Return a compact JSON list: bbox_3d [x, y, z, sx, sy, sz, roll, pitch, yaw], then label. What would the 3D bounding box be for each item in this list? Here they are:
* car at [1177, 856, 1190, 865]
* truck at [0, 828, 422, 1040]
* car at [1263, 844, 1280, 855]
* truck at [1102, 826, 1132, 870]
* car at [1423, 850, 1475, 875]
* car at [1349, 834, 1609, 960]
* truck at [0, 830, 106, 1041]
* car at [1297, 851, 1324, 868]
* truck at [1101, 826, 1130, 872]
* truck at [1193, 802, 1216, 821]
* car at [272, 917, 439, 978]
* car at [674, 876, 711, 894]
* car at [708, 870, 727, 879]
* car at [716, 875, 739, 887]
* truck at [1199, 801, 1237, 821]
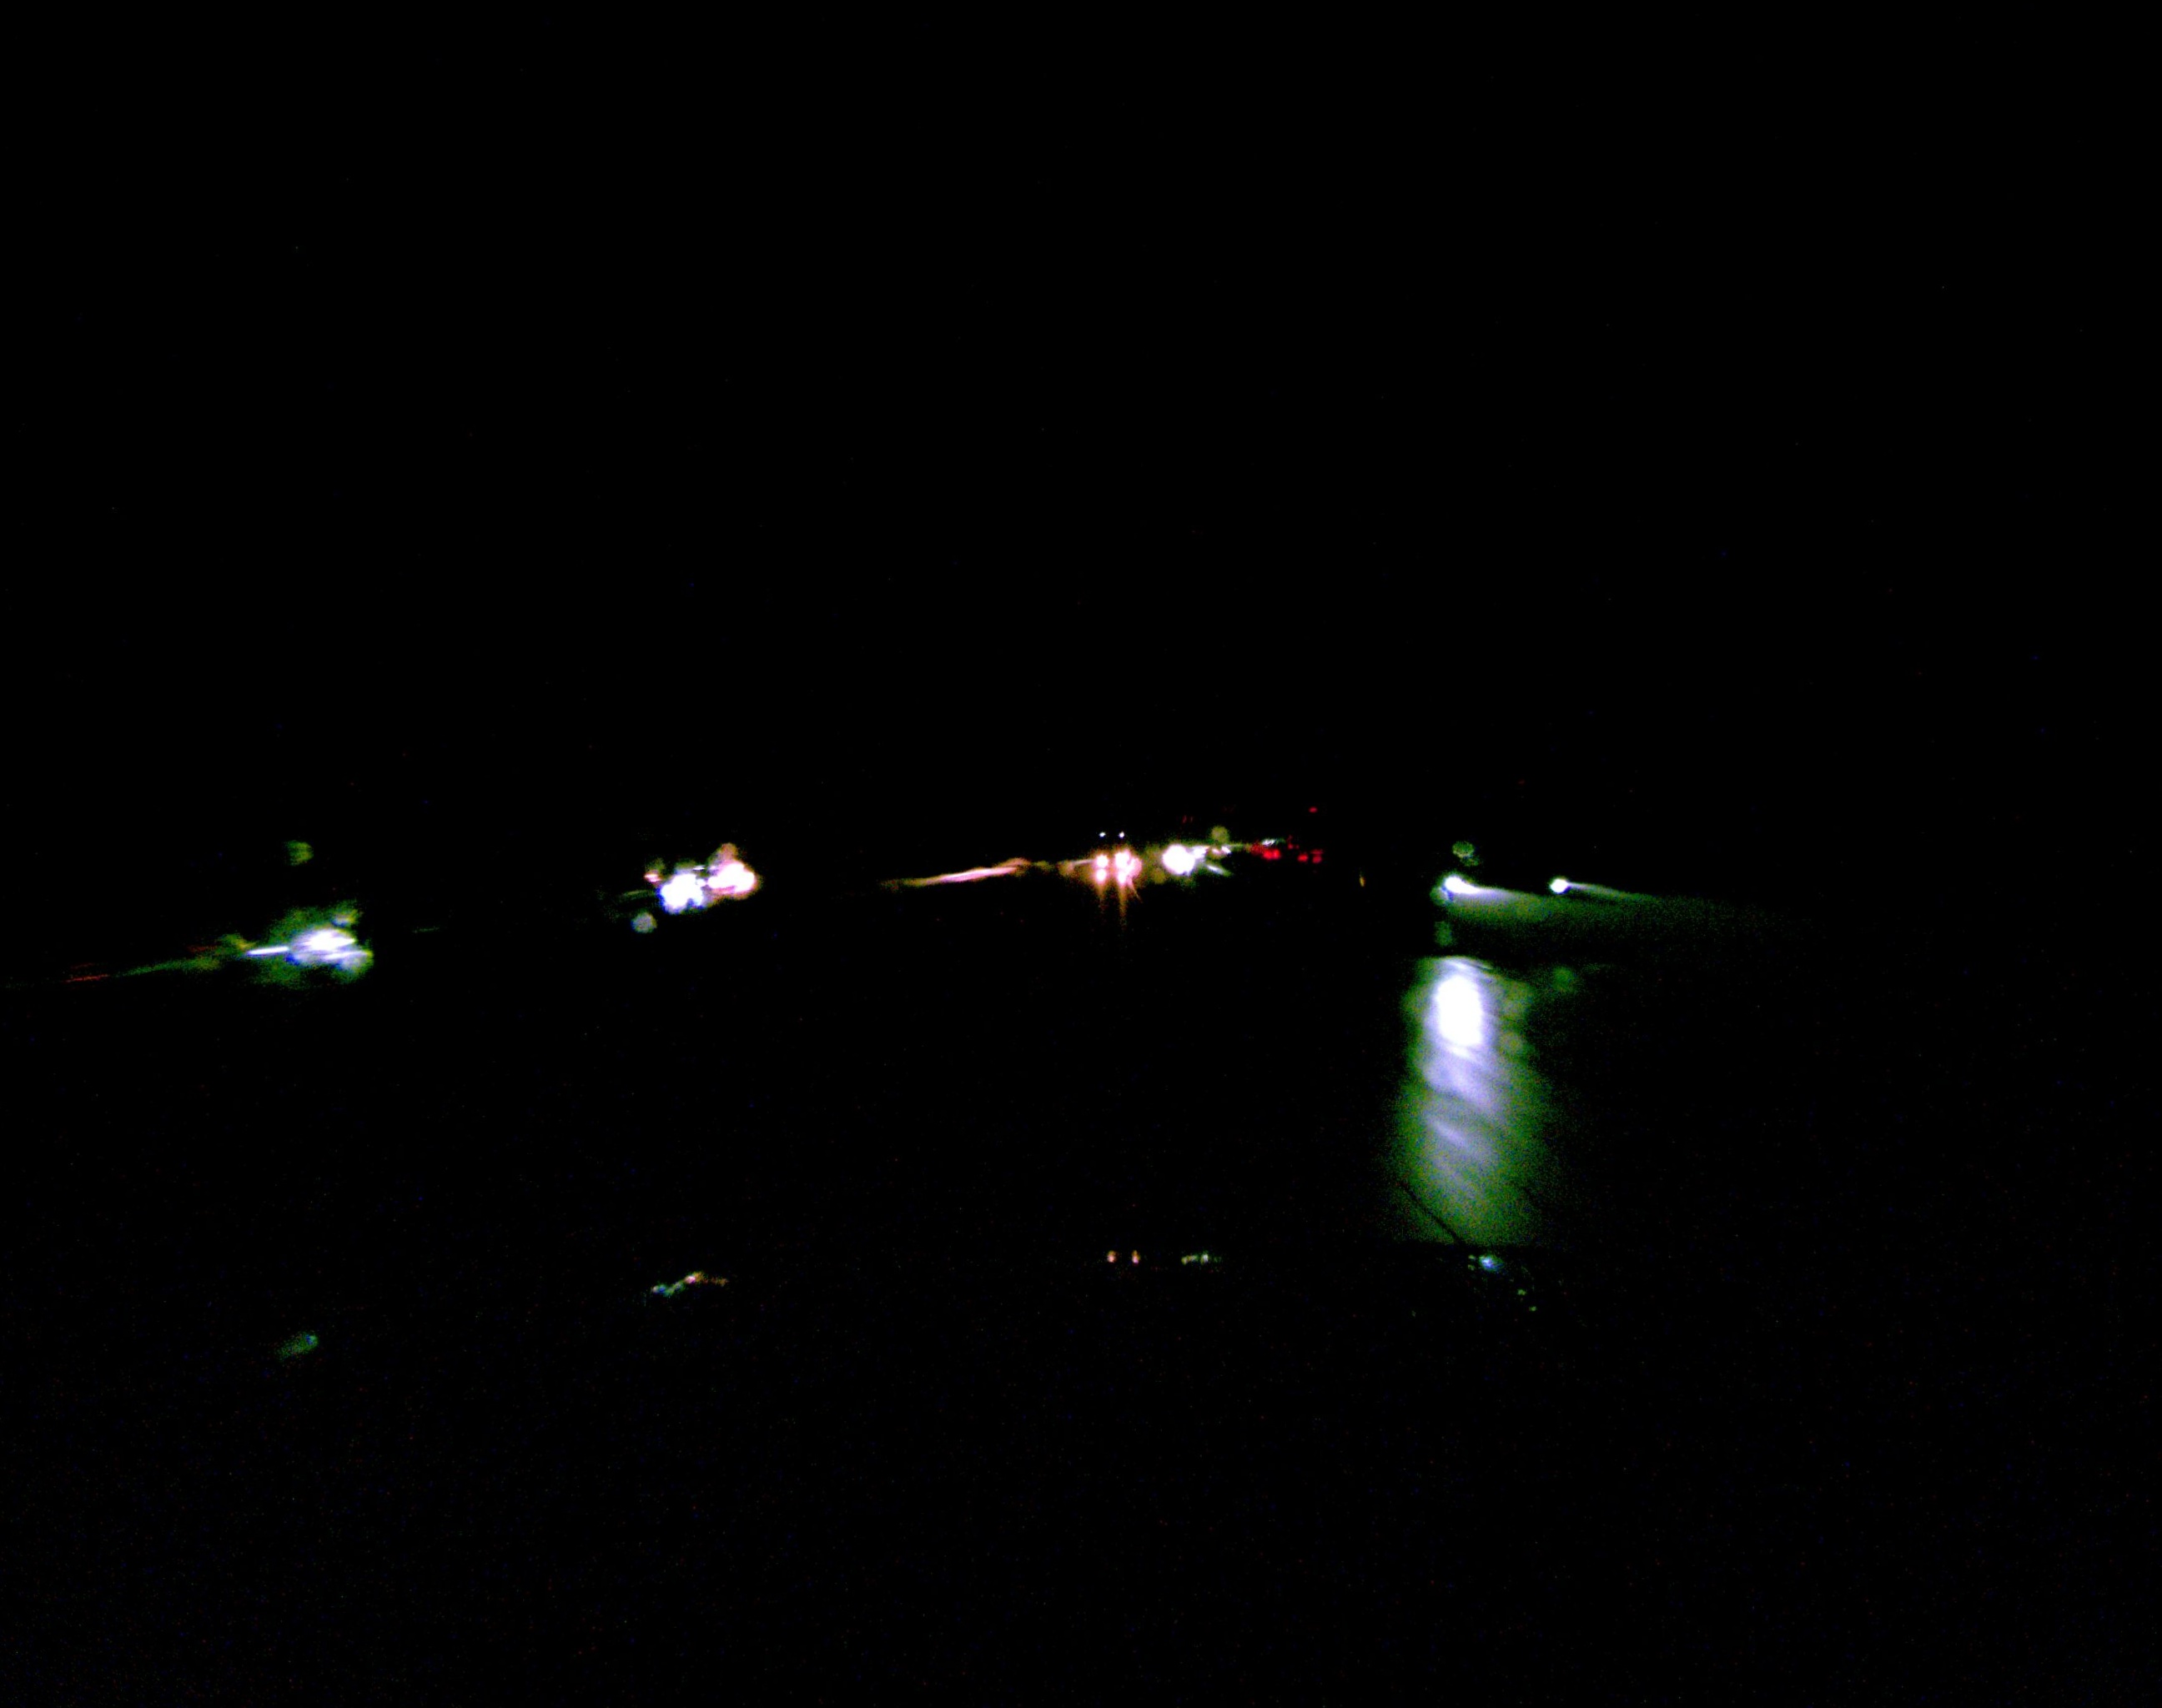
[{"bbox_3d":[15.436,0.922,114.644,1.711,1.286,3.993,-1,-1,3],"label":"car"},{"bbox_3d":[-24.400,1.416,21.317,2.769,4.199,13.806,-1,2,-14],"label":"truck"},{"bbox_3d":[29.909,-0.688,119.371,1.776,1.623,4.000,0,2,3],"label":"car"},{"bbox_3d":[3.958,-0.738,79.903,2.502,4.224,13.644,0,2,5],"label":"truck"},{"bbox_3d":[25.051,0.549,51.815,1.776,1.622,4.001,0,0,3],"label":"car"},{"bbox_3d":[6.912,0.616,14.128,2.142,1.873,5.555,0,1,3],"label":"car"},{"bbox_3d":[-22.567,1.661,13.652,2.768,4.199,6.185,-1,2,-13],"label":"truck"},{"bbox_3d":[23.745,0.544,78.828,1.776,1.623,4.000,0,2,3],"label":"car"},{"bbox_3d":[3.367,-0.500,72.724,2.502,4.224,5.983,0,2,5],"label":"truck"},{"bbox_3d":[25.986,-8.903,160.039,2.420,3.759,5.419,-1,2,-19],"label":"truck"},{"bbox_3d":[-20.596,2.607,21.829,1.713,1.286,3.987,-1,-1,-14],"label":"car"},{"bbox_3d":[-30.323,2.369,59.453,1.713,1.286,3.987,-1,-1,-14],"label":"car"},{"bbox_3d":[-53.120,2.948,110.980,1.713,1.286,3.987,-1,-1,-14],"label":"car"},{"bbox_3d":[-39.286,2.961,84.494,1.714,1.286,3.986,-1,-1,-16],"label":"car"},{"bbox_3d":[27.819,-8.751,154.783,2.420,3.759,11.211,-1,2,-19],"label":"truck"}]
